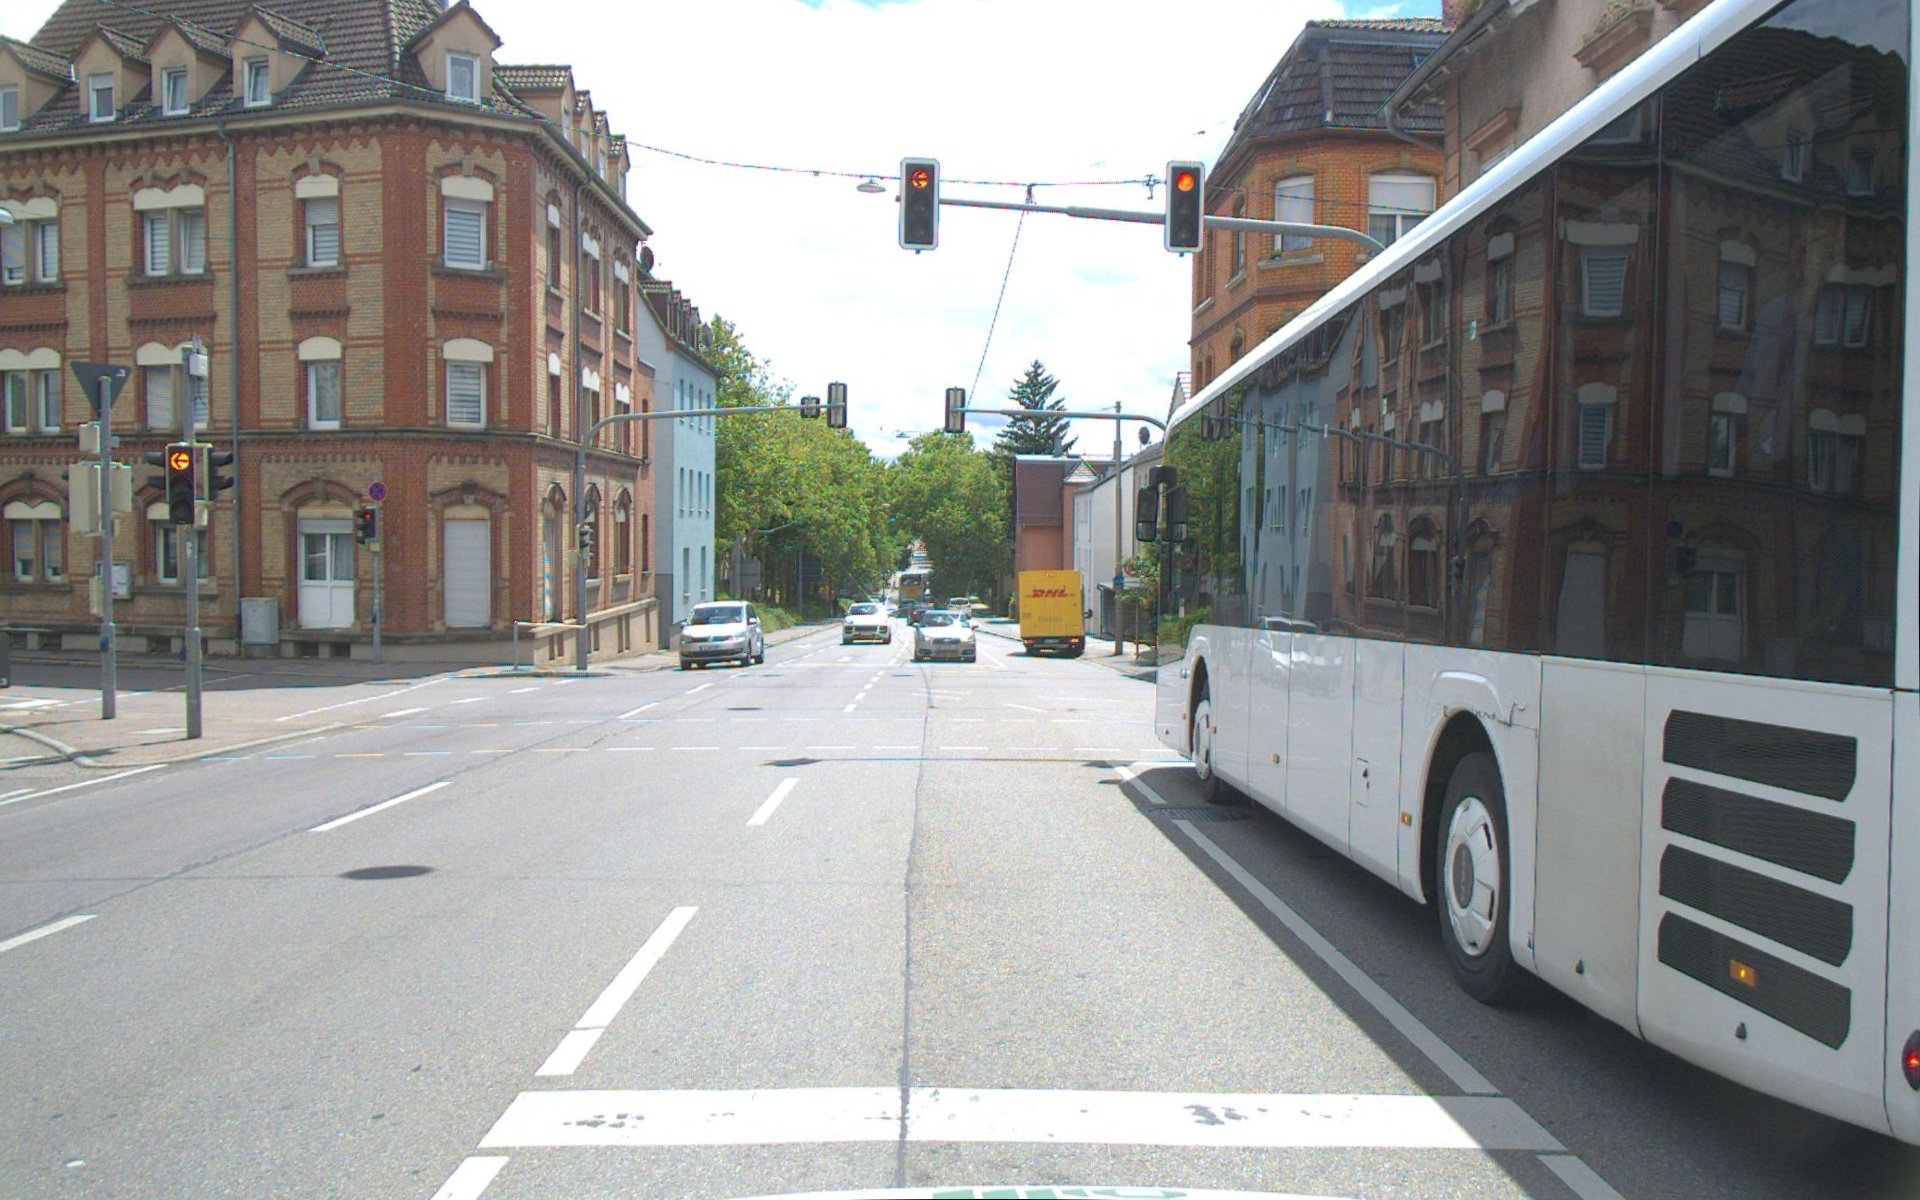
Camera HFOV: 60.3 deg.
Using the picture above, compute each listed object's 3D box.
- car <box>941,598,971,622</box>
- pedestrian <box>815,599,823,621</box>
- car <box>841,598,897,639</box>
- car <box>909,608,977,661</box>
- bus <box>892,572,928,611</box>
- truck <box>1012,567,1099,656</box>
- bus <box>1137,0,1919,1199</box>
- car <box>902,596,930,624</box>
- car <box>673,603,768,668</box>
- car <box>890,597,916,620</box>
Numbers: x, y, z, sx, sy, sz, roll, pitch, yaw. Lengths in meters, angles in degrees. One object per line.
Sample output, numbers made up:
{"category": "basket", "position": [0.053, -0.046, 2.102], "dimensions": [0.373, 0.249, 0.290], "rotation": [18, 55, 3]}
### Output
{"category": "car", "position": [-0.304, 0.744, 129.522], "dimensions": [2.050, 1.862, 4.139], "rotation": [0, 0, -4]}
{"category": "pedestrian", "position": [-11.608, 0.837, 136.512], "dimensions": [0.594, 1.789, 0.653], "rotation": [0, 0, -2]}
{"category": "car", "position": [-3.767, 0.749, 69.280], "dimensions": [2.162, 1.641, 4.546], "rotation": [0, 0, -1]}
{"category": "car", "position": [-0.488, 0.939, 47.005], "dimensions": [1.827, 1.391, 4.546], "rotation": [0, 0, -1]}
{"category": "bus", "position": [-5.008, -0.803, 163.715], "dimensions": [3.235, 3.694, 11.236], "rotation": [-1, 0, -4]}
{"category": "truck", "position": [3.519, 0.403, 59.278], "dimensions": [2.487, 2.964, 6.577], "rotation": [1, 0, 8]}
{"category": "bus", "position": [3.207, -0.243, 9.350], "dimensions": [2.845, 3.571, 12.484], "rotation": [1, 0, -1]}
{"category": "car", "position": [-2.910, 0.638, 110.038], "dimensions": [1.782, 1.816, 3.999], "rotation": [0, 0, -1]}
{"category": "car", "position": [-6.188, 0.889, 43.216], "dimensions": [1.896, 1.591, 4.388], "rotation": [0, 0, -1]}
{"category": "car", "position": [-4.756, 0.700, 137.054], "dimensions": [2.050, 1.862, 4.139], "rotation": [0, 0, -4]}
